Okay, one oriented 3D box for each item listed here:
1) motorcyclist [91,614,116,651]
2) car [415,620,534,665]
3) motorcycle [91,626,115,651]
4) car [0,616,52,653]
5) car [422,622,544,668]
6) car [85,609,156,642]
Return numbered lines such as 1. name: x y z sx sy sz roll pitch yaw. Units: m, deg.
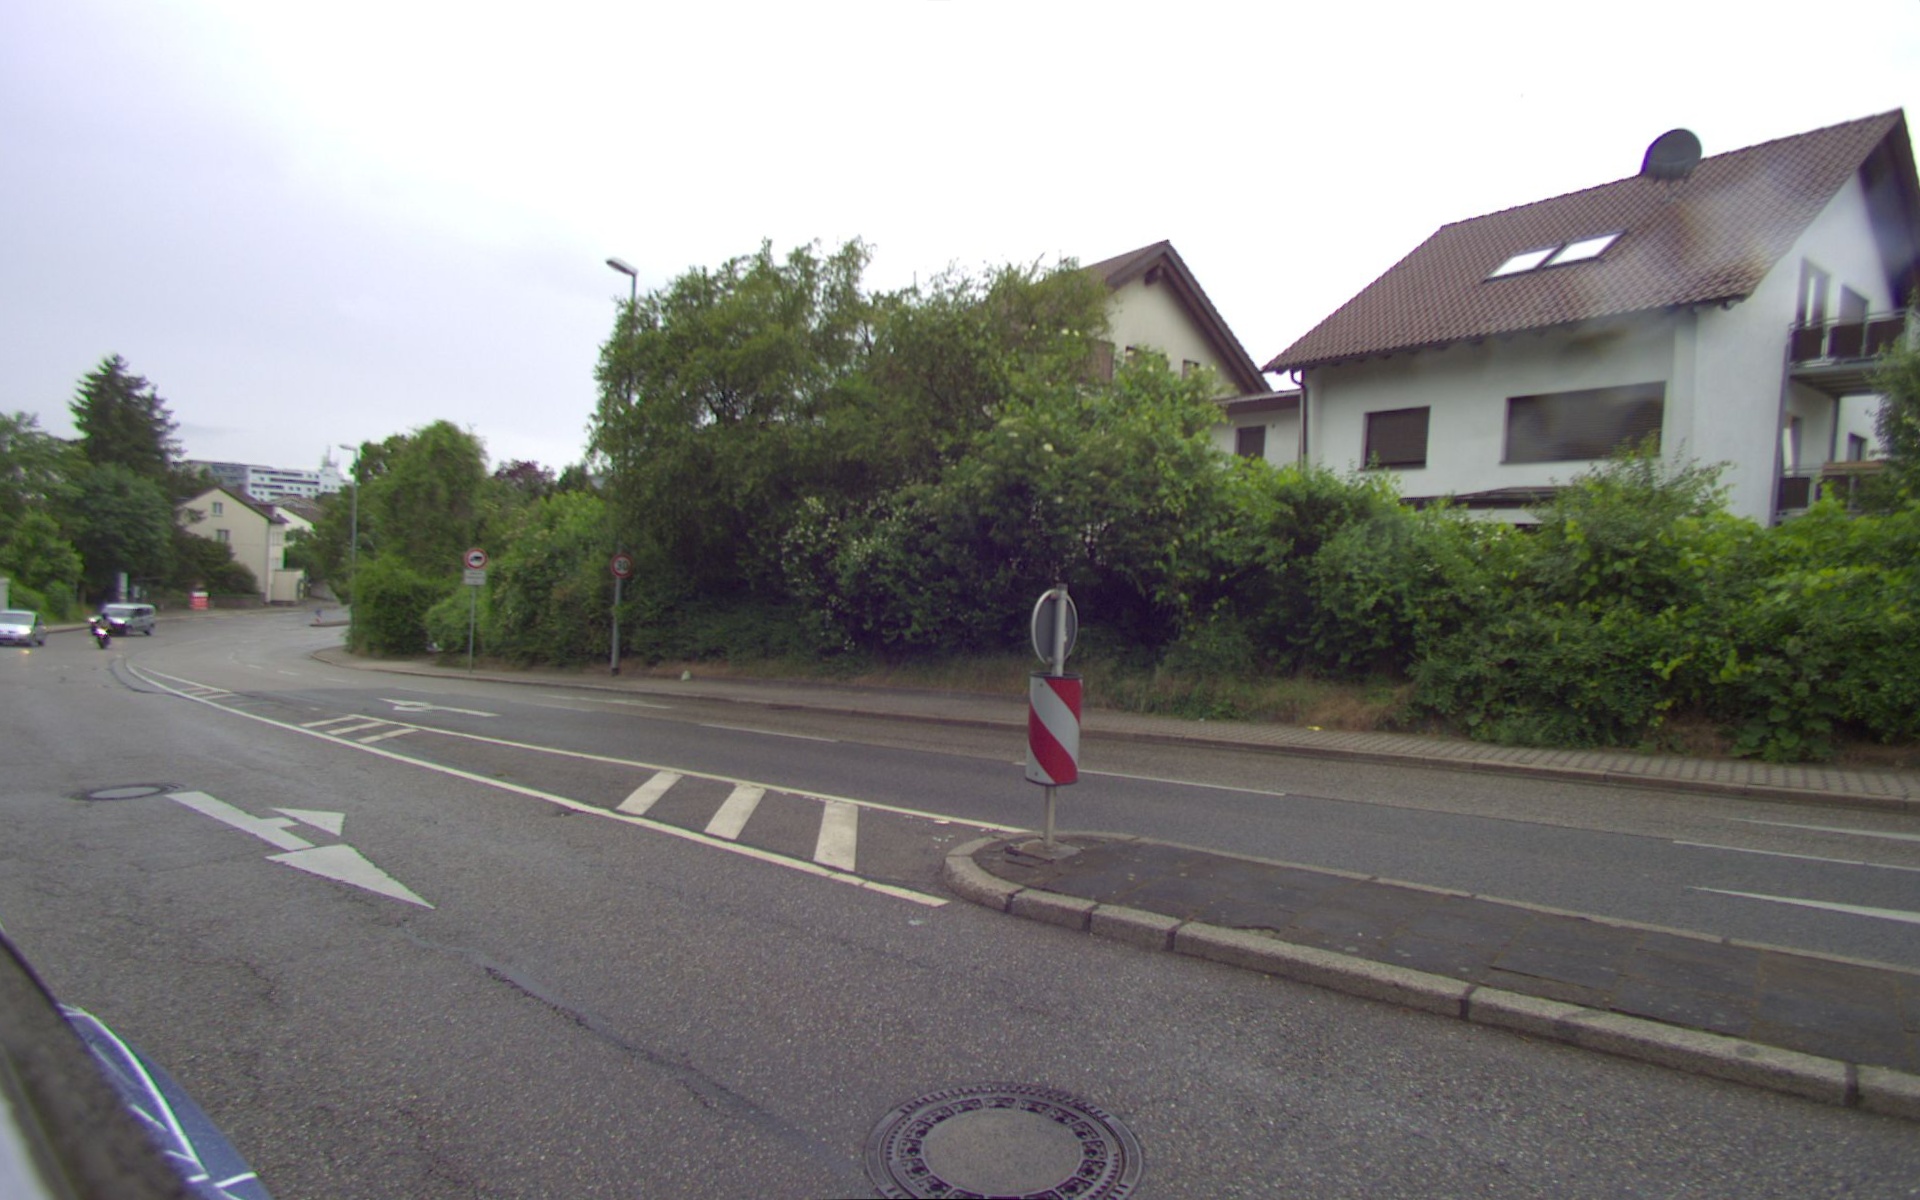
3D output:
1. motorcyclist: -39.192 1.471 46.318 0.755 1.655 0.676 5 -3 -38
2. car: -19.870 1.707 41.496 3.939 1.548 2.003 -3 1 -42
3. motorcycle: -39.074 1.750 46.141 0.682 1.061 1.751 5 -3 -37
4. car: -41.262 1.500 44.189 1.789 1.449 4.010 5 -4 -34
5. car: -18.379 1.698 39.056 3.853 1.451 1.814 -3 1 -41
6. car: -49.331 1.526 59.564 1.748 1.788 4.012 4 -3 -18
